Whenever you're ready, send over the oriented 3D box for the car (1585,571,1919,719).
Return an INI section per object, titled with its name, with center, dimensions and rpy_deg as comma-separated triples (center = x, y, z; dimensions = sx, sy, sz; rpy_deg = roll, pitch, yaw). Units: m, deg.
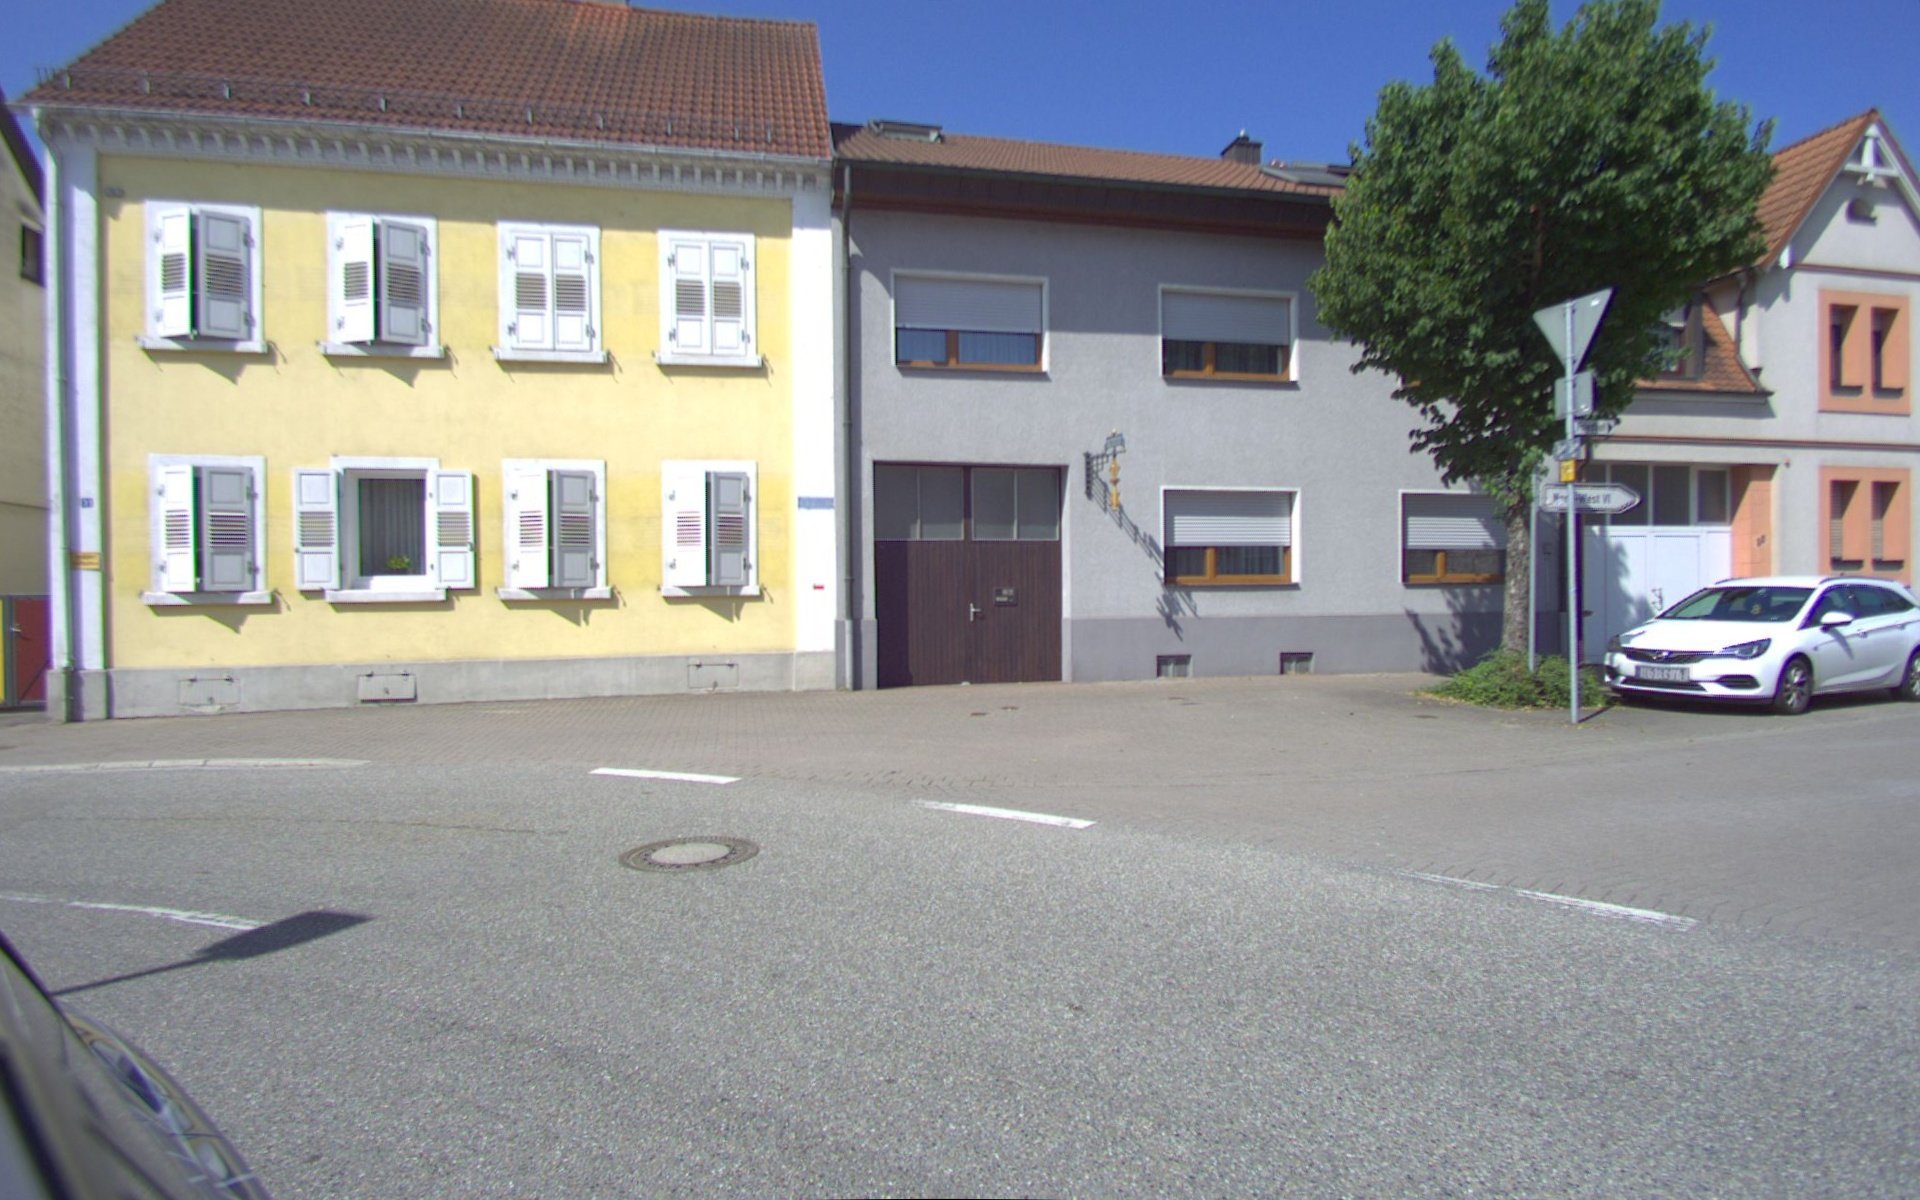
[car]
center = 9.657, 0.425, 11.790
dimensions = 4.435, 1.451, 1.861
rpy_deg = -1, 0, -25
